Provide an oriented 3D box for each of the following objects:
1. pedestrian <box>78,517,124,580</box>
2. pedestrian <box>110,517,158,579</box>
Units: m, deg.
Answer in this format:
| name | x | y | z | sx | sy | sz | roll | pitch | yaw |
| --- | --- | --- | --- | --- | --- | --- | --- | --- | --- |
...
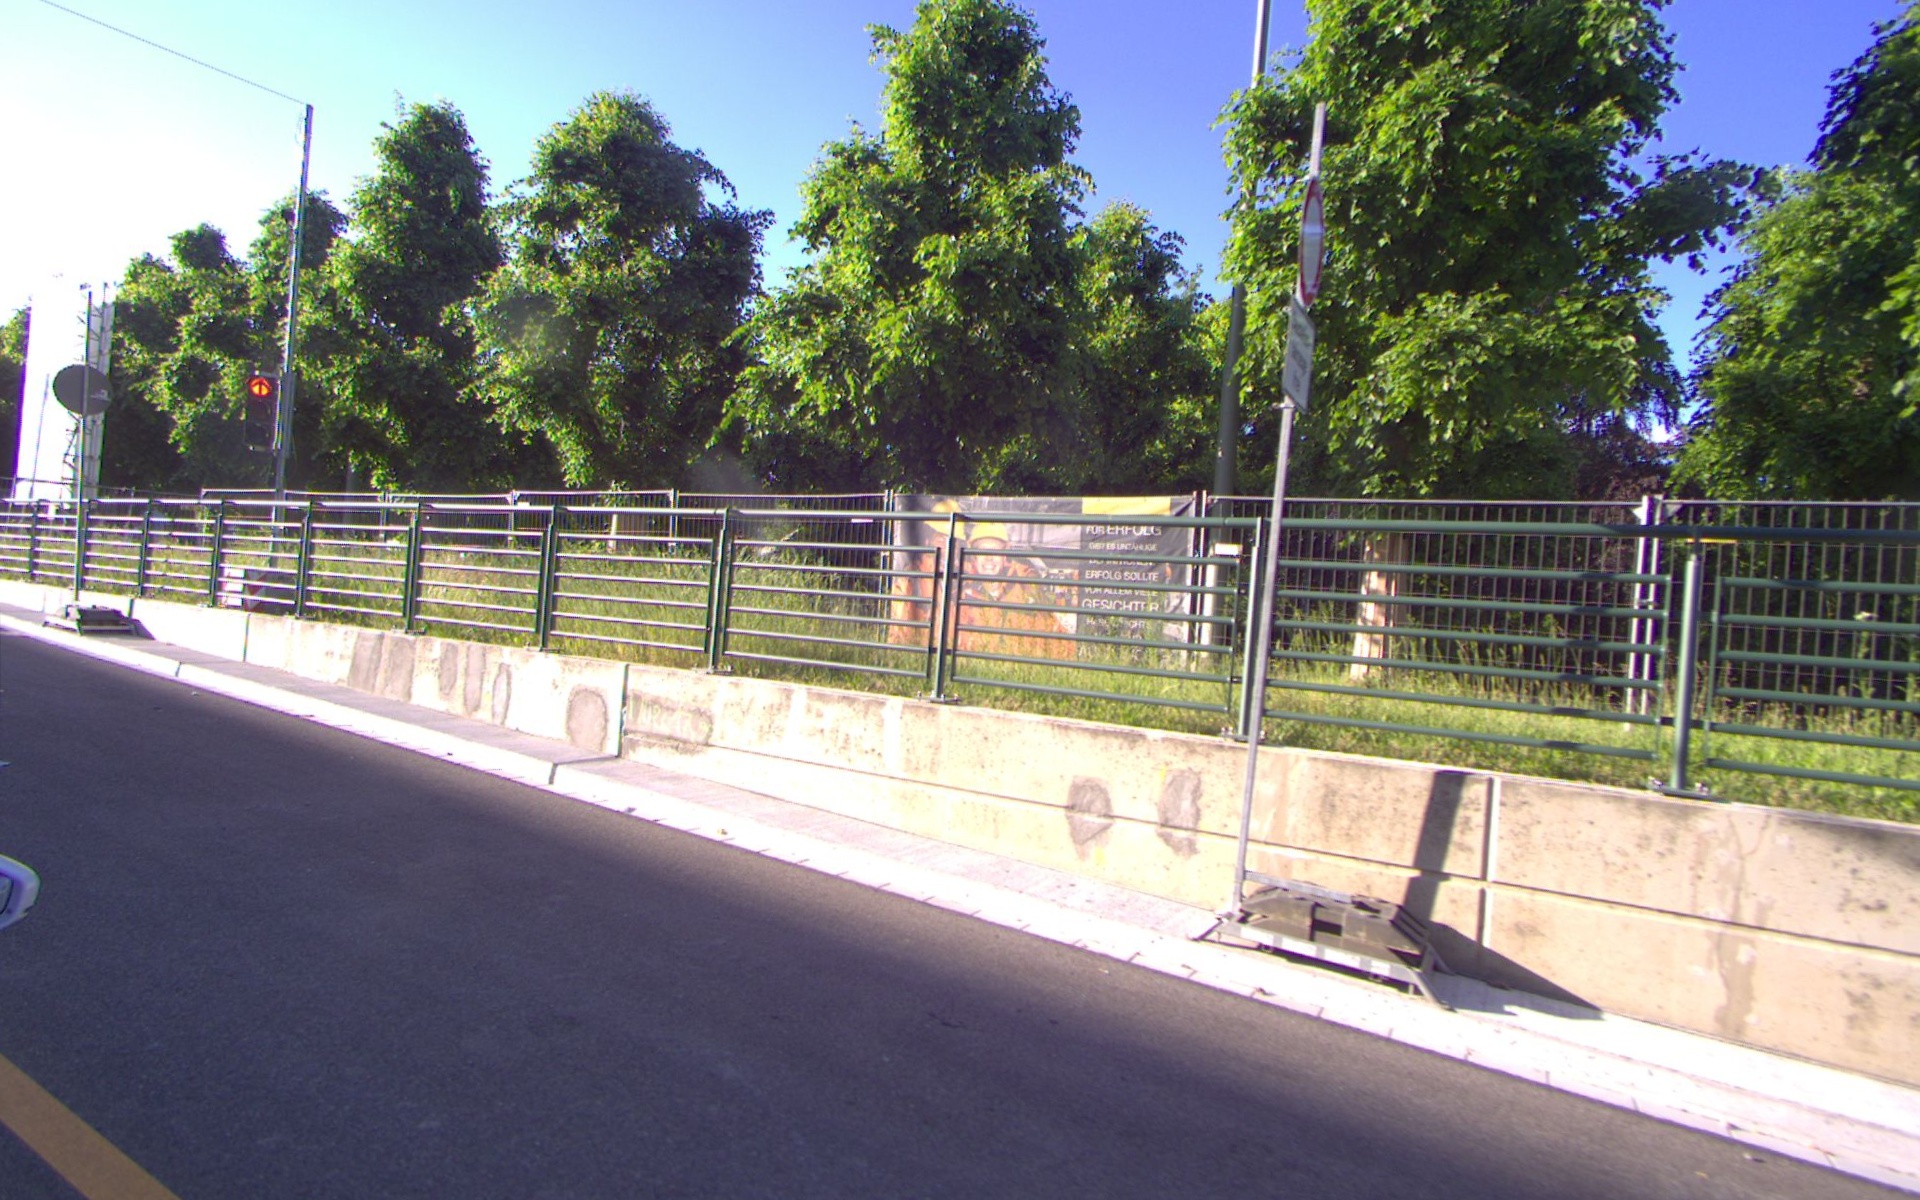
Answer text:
| name | x | y | z | sx | sy | sz | roll | pitch | yaw |
| --- | --- | --- | --- | --- | --- | --- | --- | --- | --- |
| pedestrian | -23.212 | -1.389 | 27.185 | 0.634 | 1.624 | 0.736 | 5 | 1 | 37 |
| pedestrian | -22.263 | -1.394 | 27.126 | 0.655 | 1.586 | 0.743 | 5 | 1 | -13 |
